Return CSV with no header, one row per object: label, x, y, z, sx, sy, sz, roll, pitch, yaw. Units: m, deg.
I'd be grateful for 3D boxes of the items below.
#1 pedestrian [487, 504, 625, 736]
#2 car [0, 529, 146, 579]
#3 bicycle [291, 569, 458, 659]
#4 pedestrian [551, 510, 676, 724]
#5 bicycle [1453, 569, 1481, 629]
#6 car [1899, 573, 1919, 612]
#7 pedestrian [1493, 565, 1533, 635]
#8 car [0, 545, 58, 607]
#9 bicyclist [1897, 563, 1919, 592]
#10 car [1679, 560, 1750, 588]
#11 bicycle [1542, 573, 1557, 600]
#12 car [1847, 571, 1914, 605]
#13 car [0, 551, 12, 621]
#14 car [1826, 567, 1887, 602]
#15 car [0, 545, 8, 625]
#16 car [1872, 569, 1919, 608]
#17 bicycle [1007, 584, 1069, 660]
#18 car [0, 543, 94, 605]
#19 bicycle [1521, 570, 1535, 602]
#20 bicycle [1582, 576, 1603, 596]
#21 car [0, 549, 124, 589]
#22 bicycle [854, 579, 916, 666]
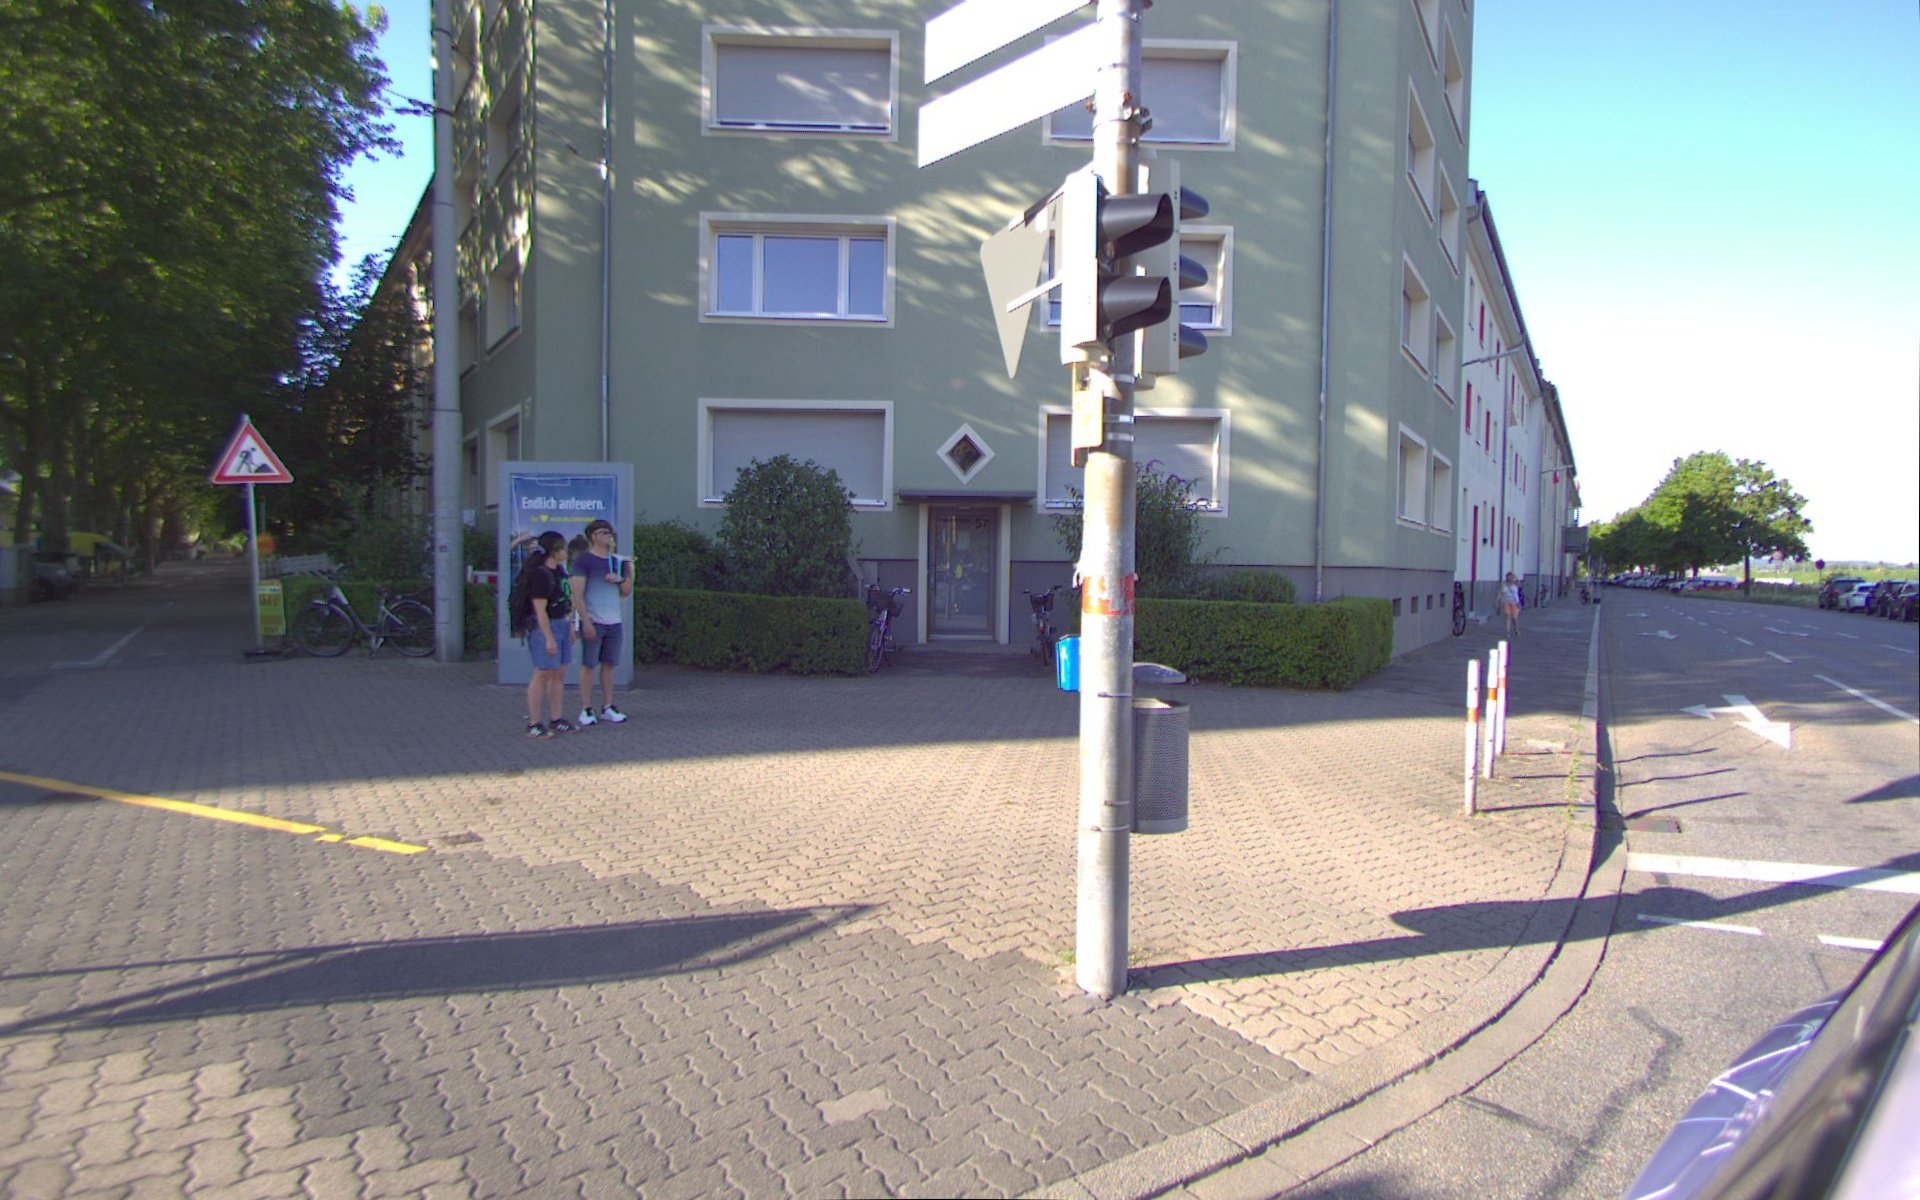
pedestrian,-3.232,0.139,8.142,0.783,1.772,0.690,1,1,14
car,-44.940,-2.289,51.076,5.852,2.395,2.061,-1,2,-35
bicycle,-7.342,0.159,12.710,1.901,1.070,0.520,1,1,8
pedestrian,-3.019,0.128,8.837,0.786,1.772,0.688,1,1,22
bicycle,12.446,-0.049,24.811,0.513,1.429,1.855,1,2,29
car,39.582,-0.324,40.936,1.815,1.545,4.234,2,2,36
pedestrian,14.033,-0.023,25.676,0.782,1.727,0.939,2,2,33
car,-26.798,-0.645,26.414,4.638,1.621,1.920,-1,3,-35
bicyclist,53.810,-1.297,57.376,0.764,1.616,1.132,1,2,34
car,73.822,-2.538,99.127,5.286,2.442,2.240,-3,0,33
bicycle,29.323,-0.692,50.311,0.514,1.342,2.184,1,2,33
car,45.526,-0.609,50.150,1.813,1.594,4.169,1,2,34
car,-23.060,-0.302,21.167,4.516,1.524,1.919,-1,3,-38
car,48.677,-0.890,55.040,1.880,1.797,4.169,1,2,34
car,-21.297,-0.252,19.062,4.638,1.621,1.920,-1,3,-35
car,42.745,-0.548,45.600,1.813,1.658,4.169,1,2,34
bicycle,1.122,0.289,14.923,0.633,1.014,1.850,0,2,-4
car,-27.754,-0.750,28.734,4.639,1.743,1.920,-1,3,-36
bicycle,26.143,-0.662,46.563,0.513,1.429,1.855,1,2,29
bicycle,36.341,-0.808,58.169,0.644,1.110,2.186,1,2,23
car,-36.555,-1.246,40.519,4.642,1.552,1.919,-1,3,-38
bicycle,-0.980,0.262,13.677,0.512,1.070,1.931,1,2,6
